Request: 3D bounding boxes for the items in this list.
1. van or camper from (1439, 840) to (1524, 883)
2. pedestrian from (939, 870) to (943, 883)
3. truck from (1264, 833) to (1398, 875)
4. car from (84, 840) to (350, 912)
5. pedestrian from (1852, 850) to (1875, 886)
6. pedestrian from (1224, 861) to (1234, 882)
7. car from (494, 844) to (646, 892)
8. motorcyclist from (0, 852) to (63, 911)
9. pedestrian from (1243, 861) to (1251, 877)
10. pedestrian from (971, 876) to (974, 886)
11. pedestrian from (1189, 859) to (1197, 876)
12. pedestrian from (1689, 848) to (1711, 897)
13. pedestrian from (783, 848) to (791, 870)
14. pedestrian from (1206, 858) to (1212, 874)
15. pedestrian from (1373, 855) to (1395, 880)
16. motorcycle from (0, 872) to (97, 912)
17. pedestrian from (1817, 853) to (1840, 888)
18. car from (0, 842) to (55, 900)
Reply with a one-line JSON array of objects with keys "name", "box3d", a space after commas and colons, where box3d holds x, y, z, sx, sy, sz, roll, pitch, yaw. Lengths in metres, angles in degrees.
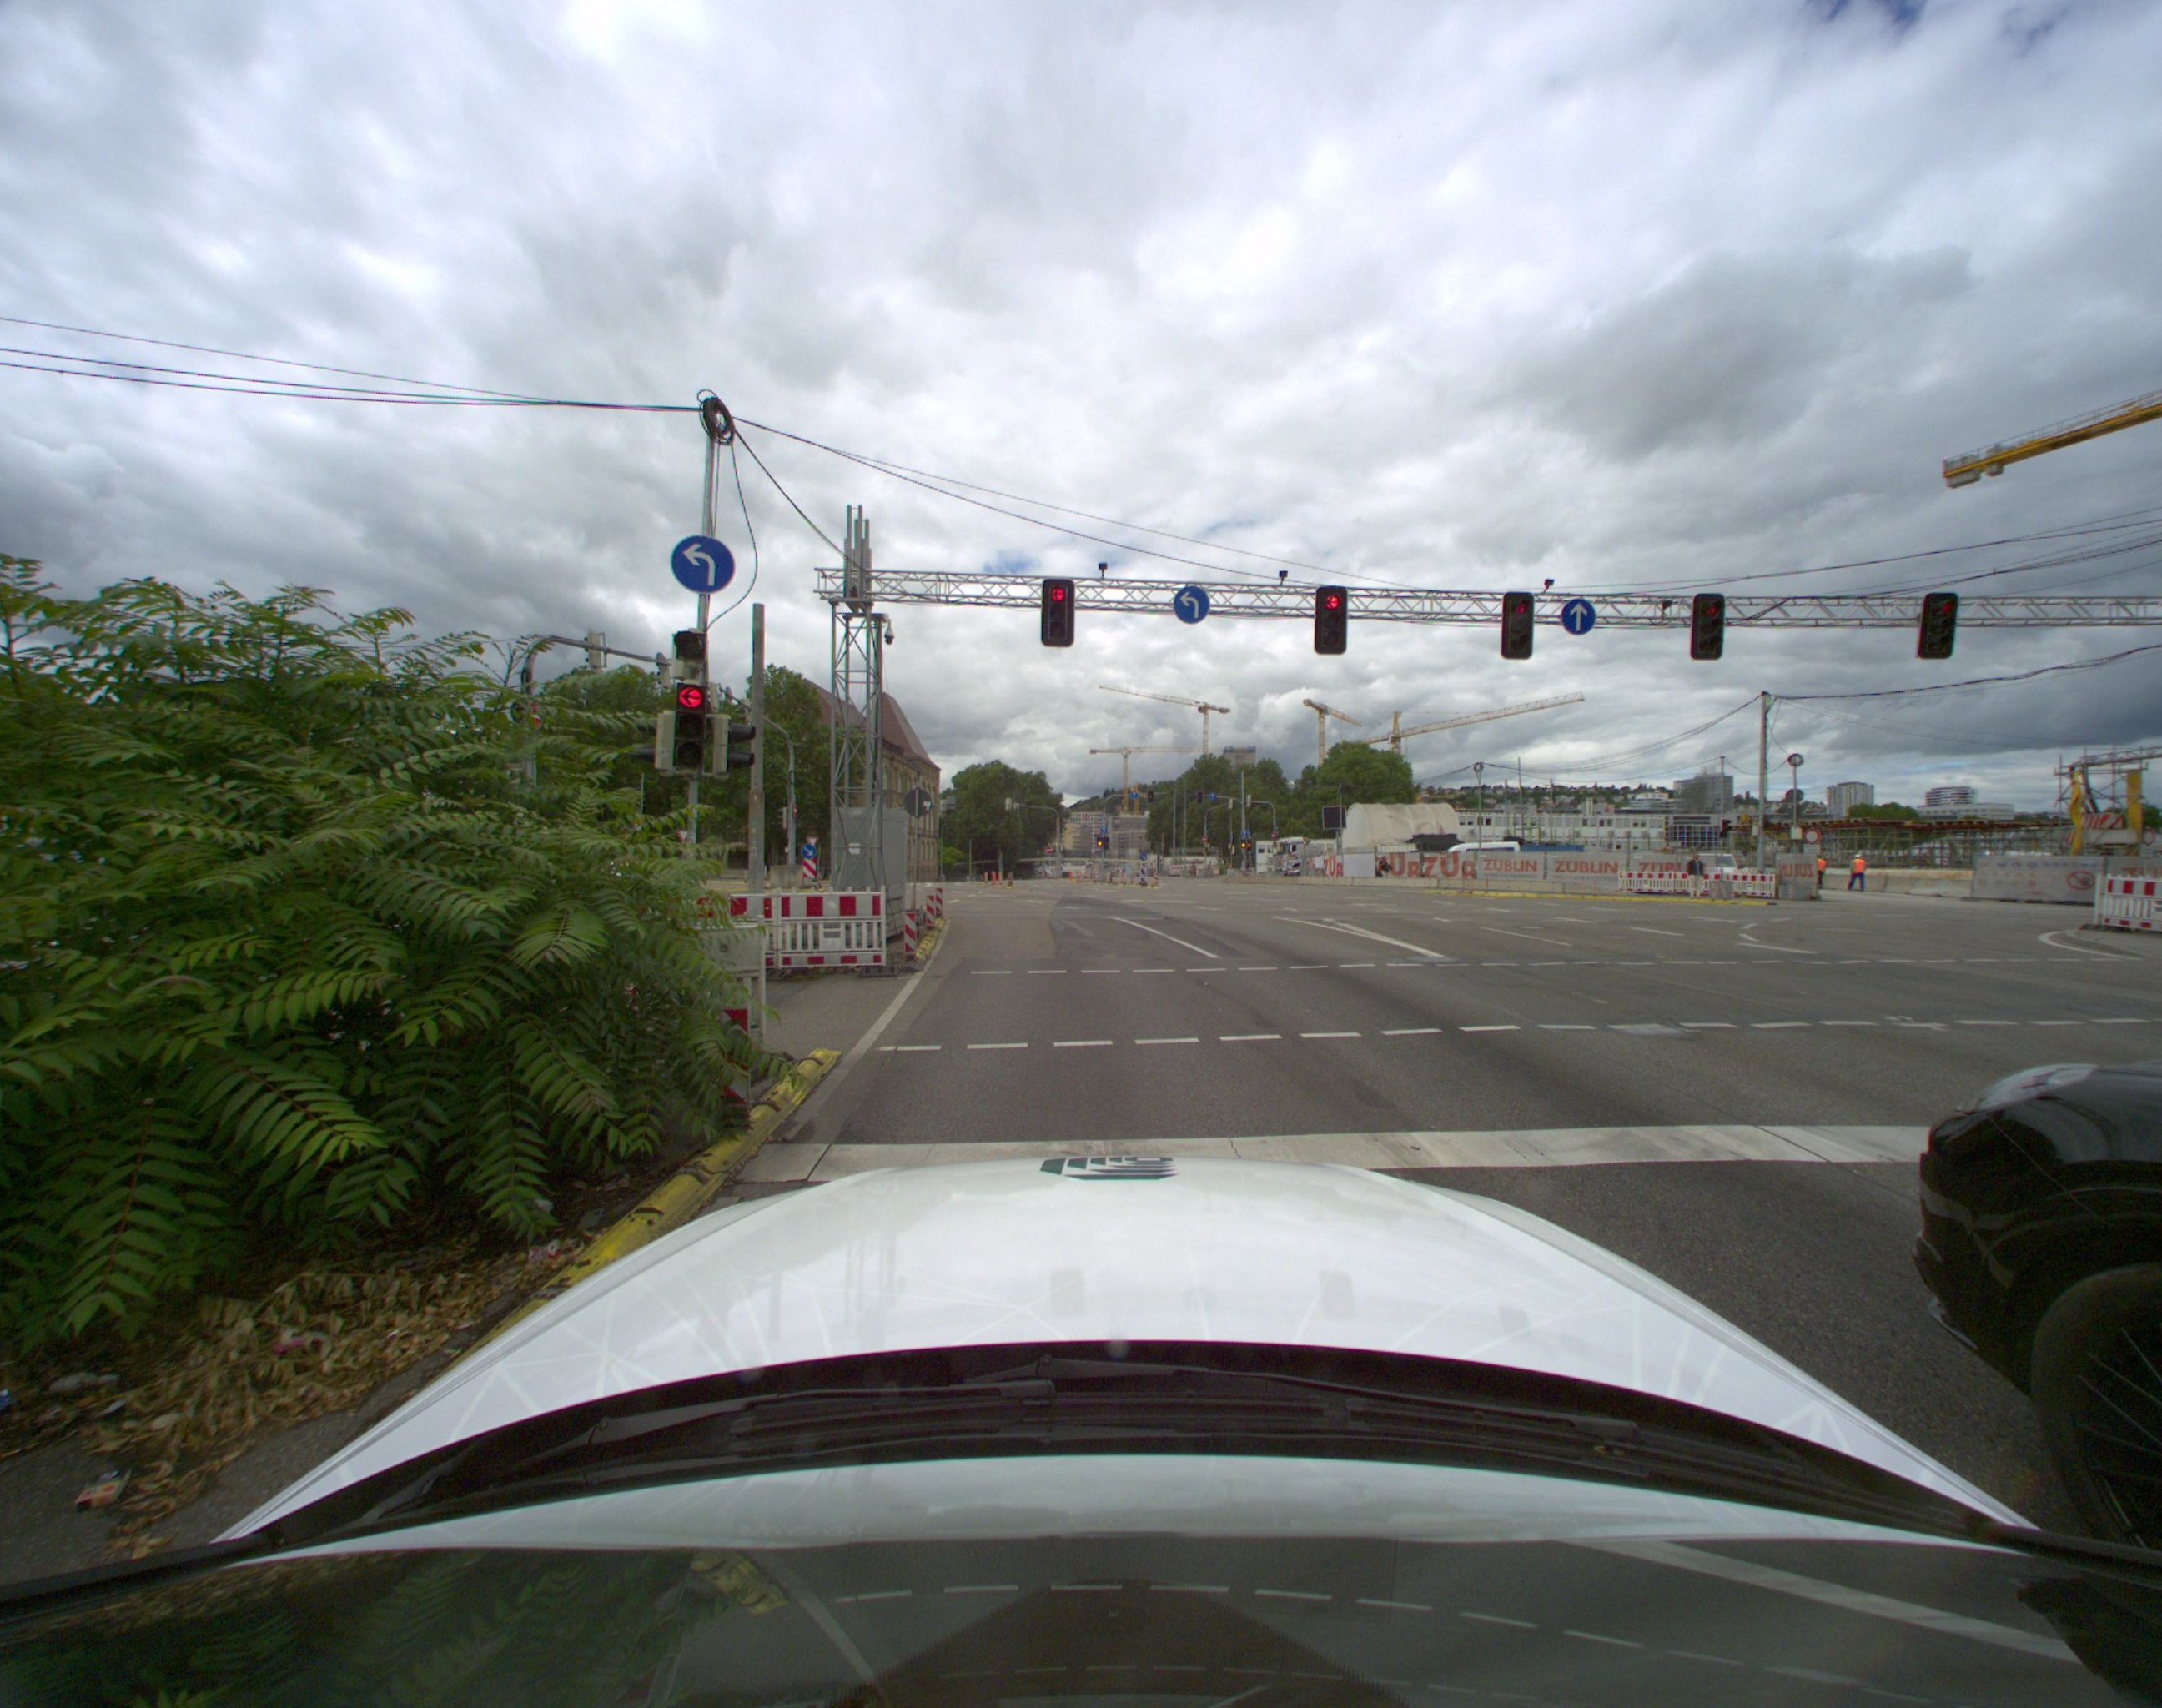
[{"name": "van or camper", "box3d": [23.142, 0.421, 47.199, 4.181, 2.357, 2.009, 0, 0, 16]}, {"name": "pedestrian", "box3d": [-21.970, 3.549, 127.582, 0.522, 2.014, 0.567, 0, 0, 2]}, {"name": "truck", "box3d": [25.028, -0.031, 81.586, 13.062, 4.041, 3.926, 0, 0, -18]}, {"name": "car", "box3d": [-21.306, 0.528, 20.251, 4.302, 1.676, 1.998, 0, 0, -3]}, {"name": "pedestrian", "box3d": [38.034, 0.679, 39.597, 0.651, 1.717, 0.516, 0, 0, -9]}, {"name": "pedestrian", "box3d": [12.243, 1.444, 67.389, 0.726, 1.689, 0.678, 0, 0, 1]}, {"name": "car", "box3d": [-18.829, 0.502, 30.246, 4.315, 1.676, 1.992, 0, 0, -12]}, {"name": "motorcyclist", "box3d": [-25.710, 0.658, 19.788, 0.963, 1.423, 0.745, 0, 0, -4]}, {"name": "pedestrian", "box3d": [17.335, 1.589, 84.815, 0.615, 1.689, 0.716, 0, 0, 31]}, {"name": "pedestrian", "box3d": [-20.778, 5.150, 156.012, 0.522, 2.014, 0.567, 0, 0, 2]}, {"name": "pedestrian", "box3d": [11.537, 1.380, 83.815, 0.726, 1.689, 0.678, 0, 0, 1]}, {"name": "pedestrian", "box3d": [25.674, 0.744, 33.786, 0.645, 2.013, 0.520, 0, 0, 27]}, {"name": "pedestrian", "box3d": [-26.809, 0.419, 74.200, 0.530, 2.014, 0.423, 1, -1, -42]}, {"name": "pedestrian", "box3d": [13.437, 1.230, 85.253, 0.564, 1.689, 0.472, 0, 0, 1]}, {"name": "pedestrian", "box3d": [17.384, 0.774, 46.680, 0.801, 1.378, 0.897, 0, 0, -27]}, {"name": "motorcycle", "box3d": [-25.482, 0.920, 19.809, 2.051, 0.924, 0.756, 0, 0, -4]}, {"name": "pedestrian", "box3d": [38.744, 0.842, 42.233, 0.651, 1.795, 0.617, 0, 0, -7]}, {"name": "car", "box3d": [-32.917, 0.472, 23.322, 4.302, 1.676, 1.998, 0, 0, -3]}]
